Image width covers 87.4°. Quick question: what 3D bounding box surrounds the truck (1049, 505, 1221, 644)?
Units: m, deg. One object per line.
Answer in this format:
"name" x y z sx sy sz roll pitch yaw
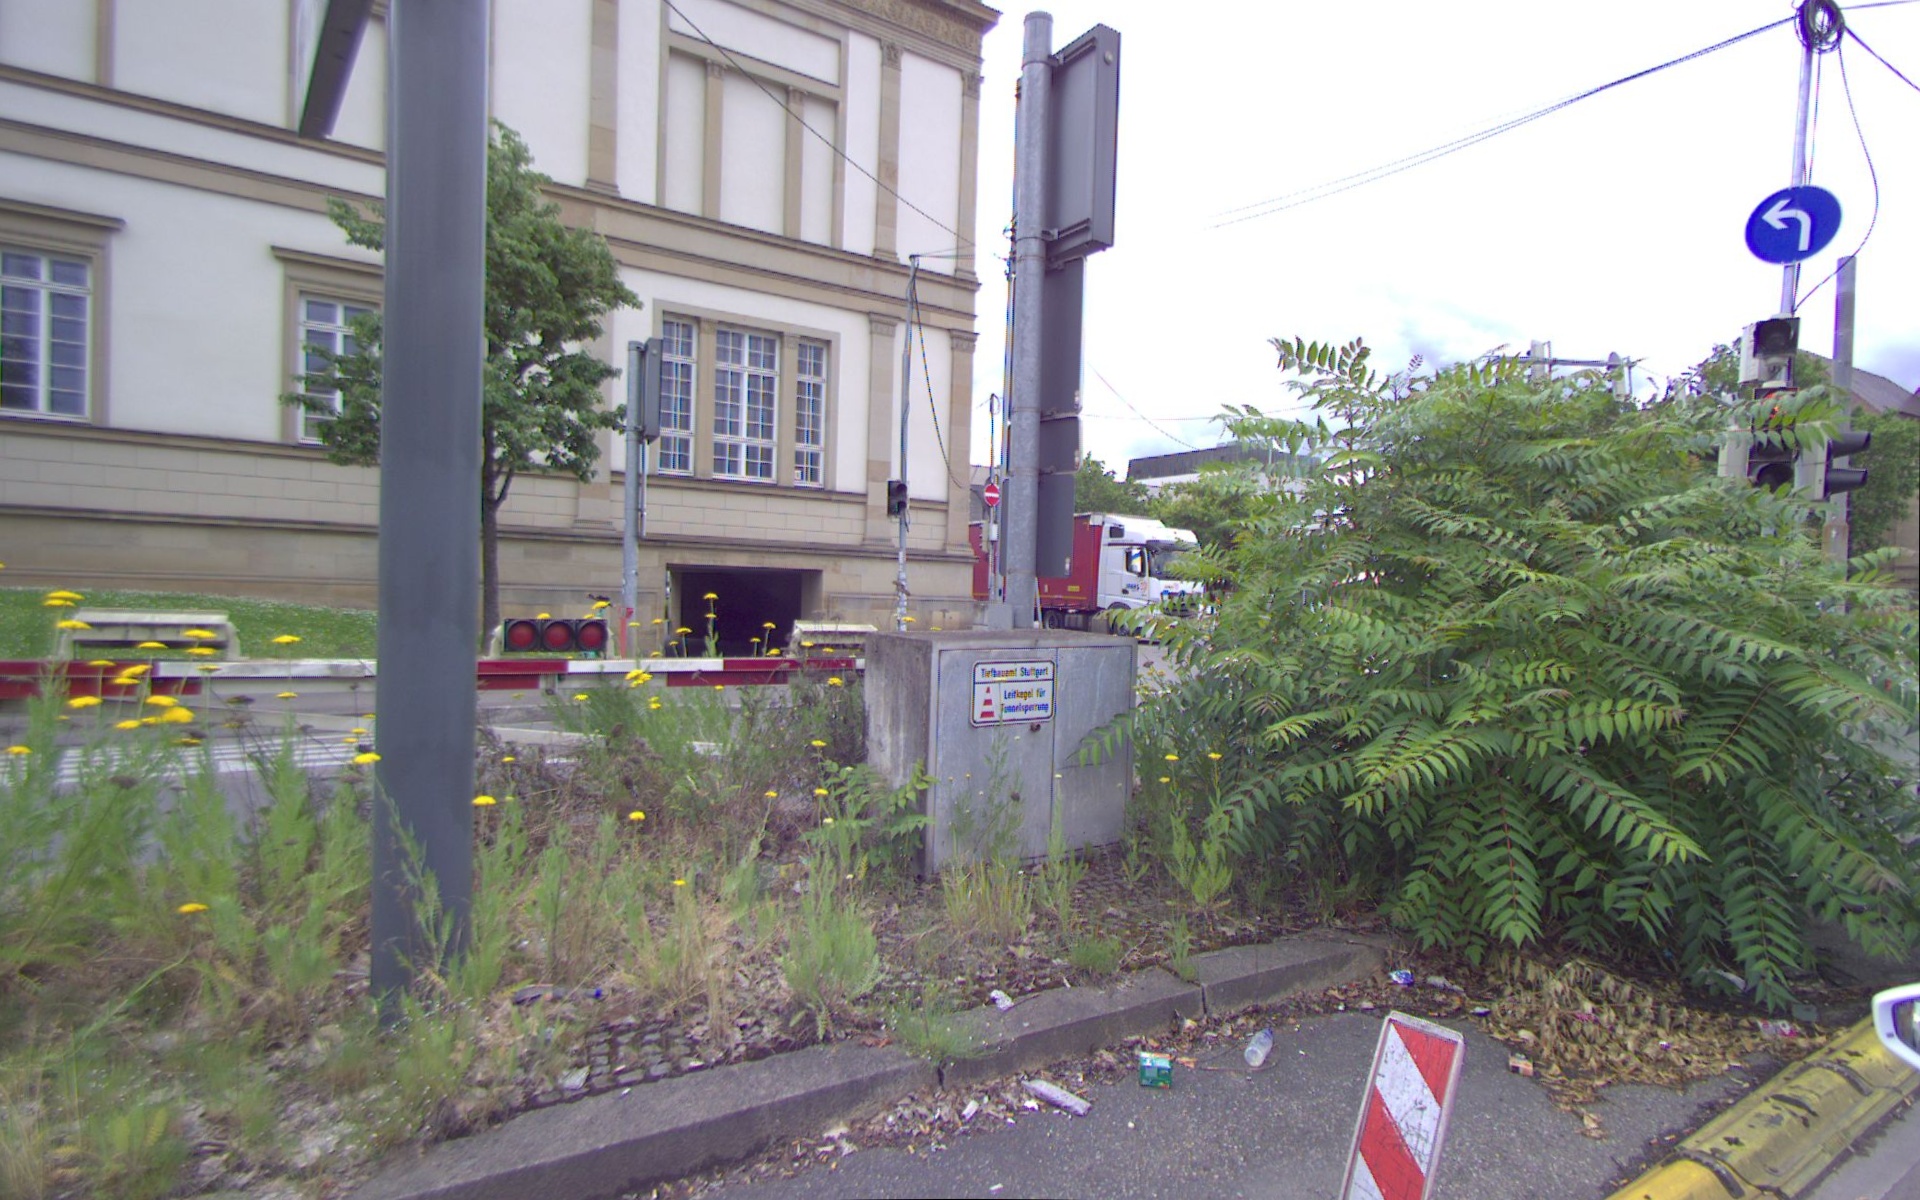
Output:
"truck" 5.615 -0.760 32.776 2.915 4.118 4.846 2 0 -34

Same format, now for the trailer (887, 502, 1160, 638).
"trailer" 1.774 -1.001 38.731 2.916 4.338 13.662 2 0 -33

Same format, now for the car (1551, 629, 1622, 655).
"car" 39.194 2.609 62.960 3.615 1.417 1.679 2 0 27
